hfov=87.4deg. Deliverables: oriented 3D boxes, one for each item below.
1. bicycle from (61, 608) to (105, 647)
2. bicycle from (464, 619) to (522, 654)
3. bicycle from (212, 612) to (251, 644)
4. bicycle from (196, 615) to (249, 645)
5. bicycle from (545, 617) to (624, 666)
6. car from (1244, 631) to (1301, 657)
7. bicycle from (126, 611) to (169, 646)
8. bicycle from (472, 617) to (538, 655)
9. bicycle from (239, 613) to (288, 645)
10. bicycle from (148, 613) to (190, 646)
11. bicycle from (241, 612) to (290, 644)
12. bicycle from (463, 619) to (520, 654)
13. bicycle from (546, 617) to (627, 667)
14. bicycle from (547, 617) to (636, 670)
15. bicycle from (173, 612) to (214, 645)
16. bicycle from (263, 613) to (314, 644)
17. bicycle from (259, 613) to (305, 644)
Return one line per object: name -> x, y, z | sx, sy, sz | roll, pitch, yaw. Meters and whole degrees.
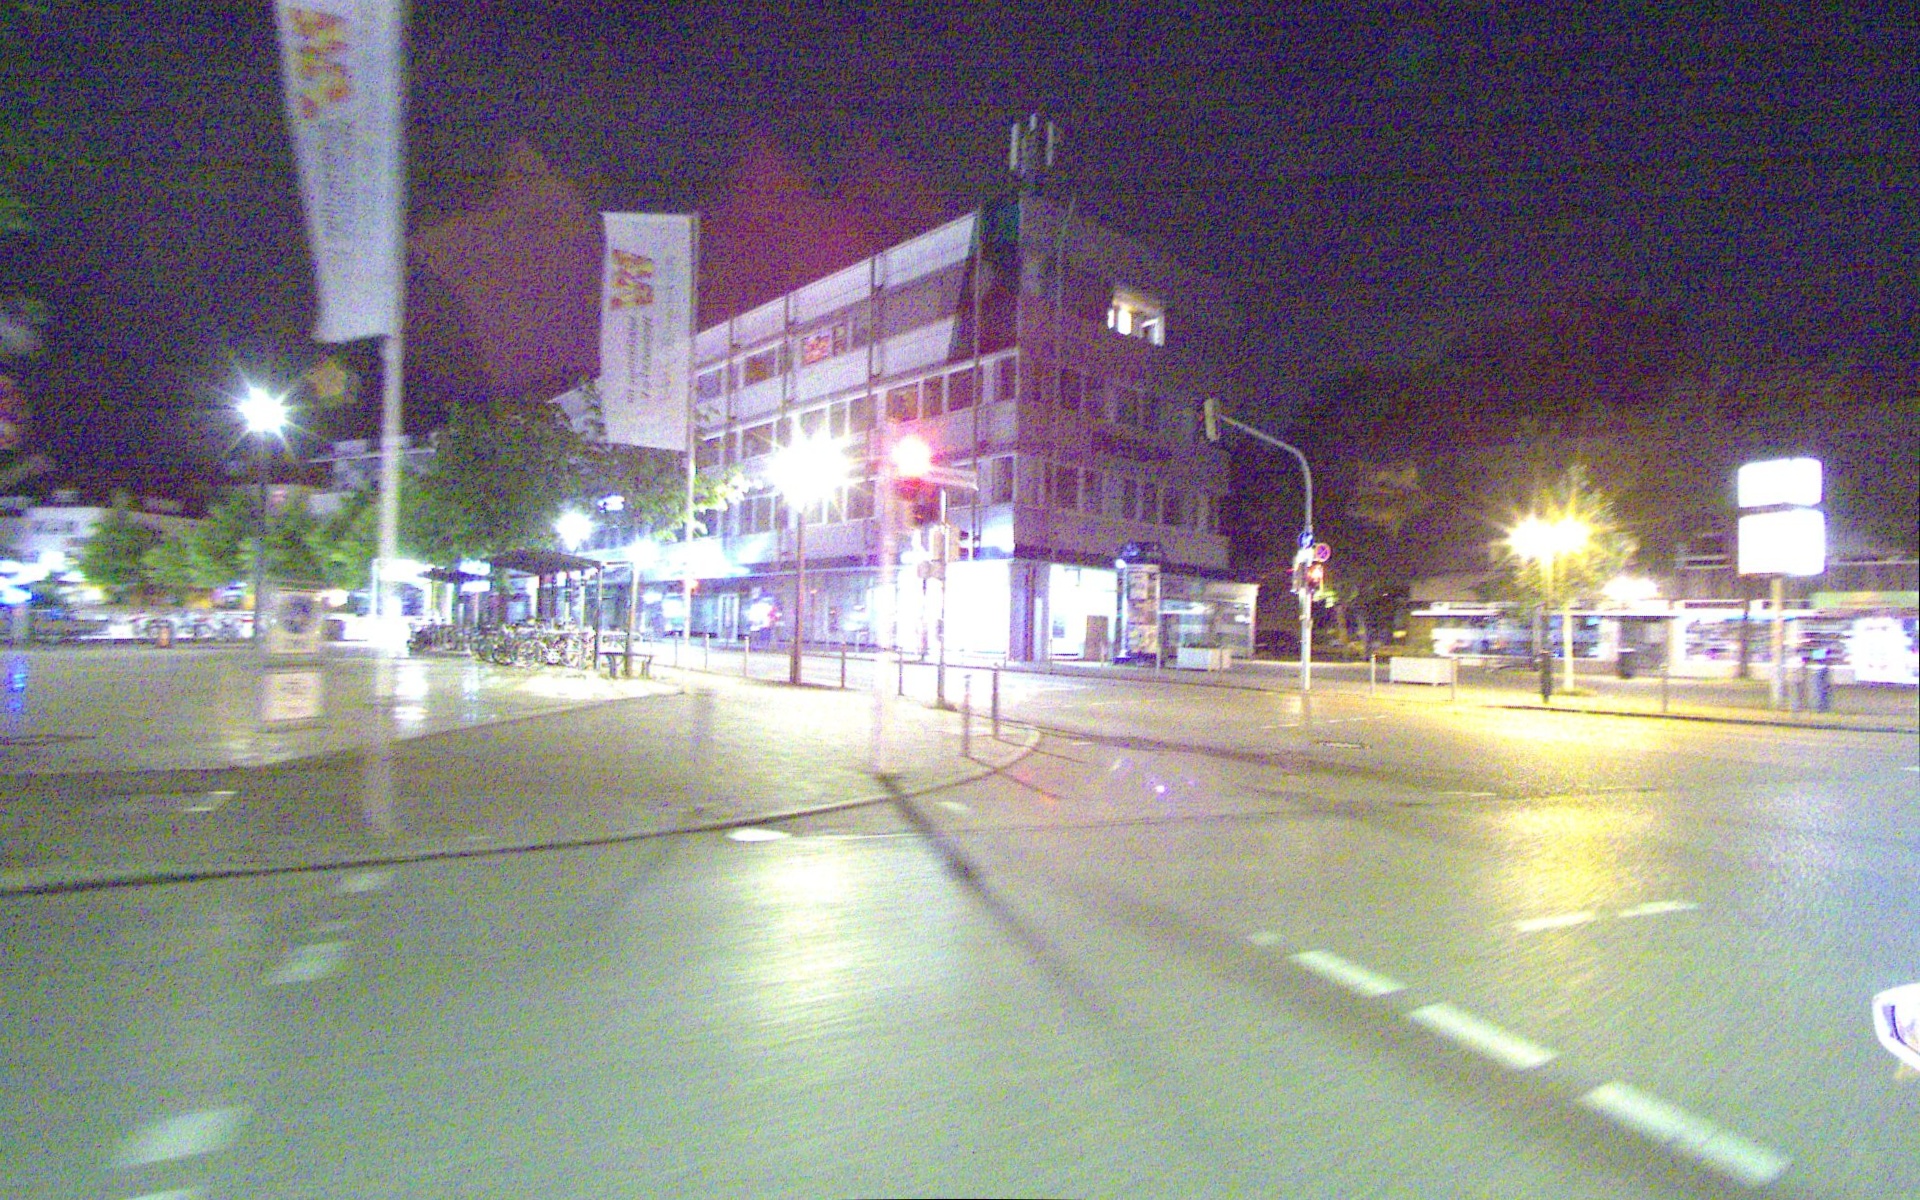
bicycle -> -29.409, 0.907, 33.669 | 1.716, 1.235, 0.607 | 2, 0, 32
bicycle -> -15.434, 1.223, 33.210 | 1.609, 1.120, 0.662 | 3, -3, -41
bicycle -> -28.145, 1.064, 38.814 | 1.717, 1.181, 0.607 | 2, 0, 32
bicycle -> -27.715, 1.115, 37.749 | 1.712, 1.084, 0.609 | 2, 0, 13
bicycle -> -9.903, 1.101, 26.514 | 1.724, 1.181, 0.779 | 6, -3, -36
car -> 19.719, 2.750, 63.268 | 1.897, 1.470, 3.977 | 2, 0, 43
bicycle -> -28.692, 0.990, 35.471 | 1.716, 1.181, 0.607 | 2, 0, 32
bicycle -> -14.264, 1.134, 31.519 | 1.761, 1.179, 0.662 | 3, -2, -41
bicycle -> -26.901, 1.113, 38.777 | 1.712, 1.181, 0.609 | 2, 0, 17
bicycle -> -28.424, 1.042, 36.072 | 1.716, 1.115, 0.607 | 2, 0, 32
bicycle -> -27.346, 1.102, 39.556 | 1.712, 1.181, 0.609 | 2, 0, 17
bicycle -> -15.789, 1.241, 33.888 | 1.609, 1.120, 0.662 | 3, -3, -41
bicycle -> -9.474, 1.077, 25.526 | 1.724, 1.172, 0.779 | 6, -4, -36
bicycle -> -8.911, 1.060, 24.297 | 1.823, 1.172, 0.779 | 6, -4, -36
bicycle -> -28.348, 1.041, 37.125 | 1.716, 1.140, 0.607 | 2, 0, 32
bicycle -> -27.264, 1.137, 40.781 | 1.712, 1.177, 0.761 | 2, 0, 17
bicycle -> -26.976, 1.120, 39.955 | 1.712, 1.170, 0.545 | 2, 0, 17
